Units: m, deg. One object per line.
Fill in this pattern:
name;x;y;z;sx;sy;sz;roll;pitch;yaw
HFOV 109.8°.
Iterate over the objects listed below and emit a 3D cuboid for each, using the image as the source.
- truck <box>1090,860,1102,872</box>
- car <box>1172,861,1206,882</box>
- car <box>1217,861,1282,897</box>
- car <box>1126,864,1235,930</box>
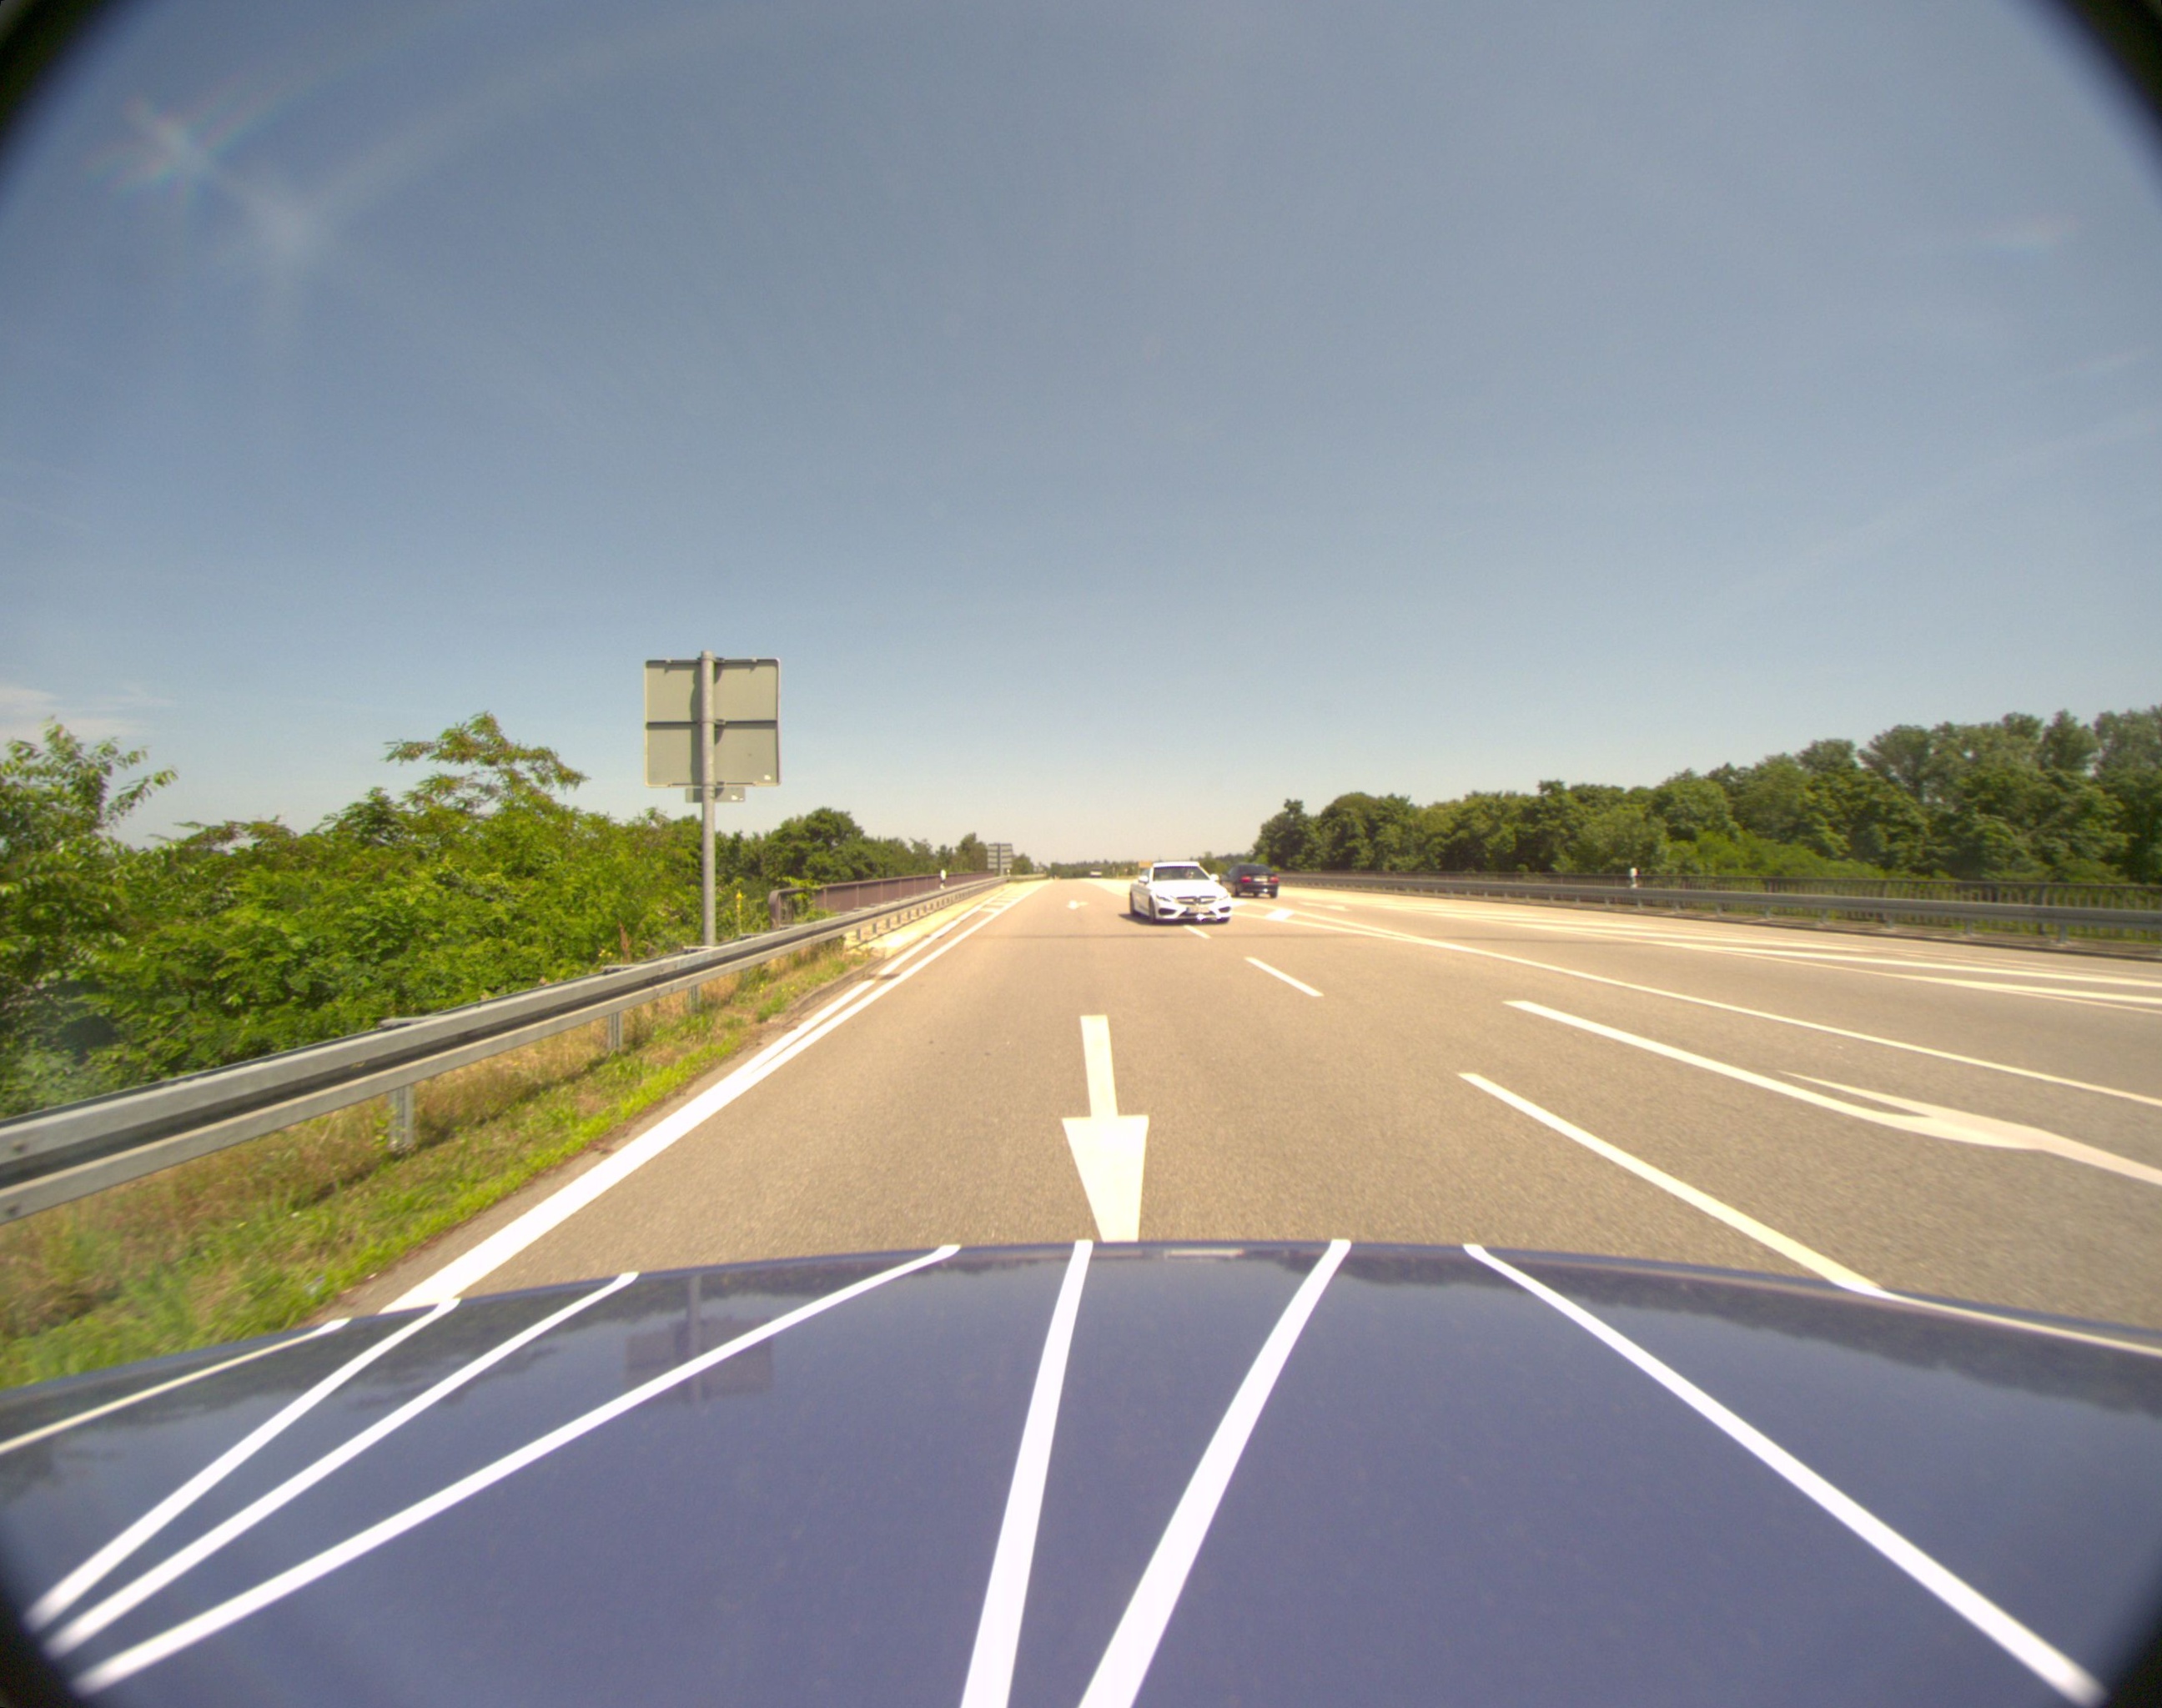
truck;3.087;2.468;156.222;2.212;2.229;5.372;-1;-1;-3
car;7.805;1.249;55.403;1.728;1.444;4.794;1;-1;-1
car;7.002;1.020;32.059;1.739;1.392;4.381;1;-1;0
car;2.331;0.972;18.861;1.814;1.407;4.109;-1;-1;-5
